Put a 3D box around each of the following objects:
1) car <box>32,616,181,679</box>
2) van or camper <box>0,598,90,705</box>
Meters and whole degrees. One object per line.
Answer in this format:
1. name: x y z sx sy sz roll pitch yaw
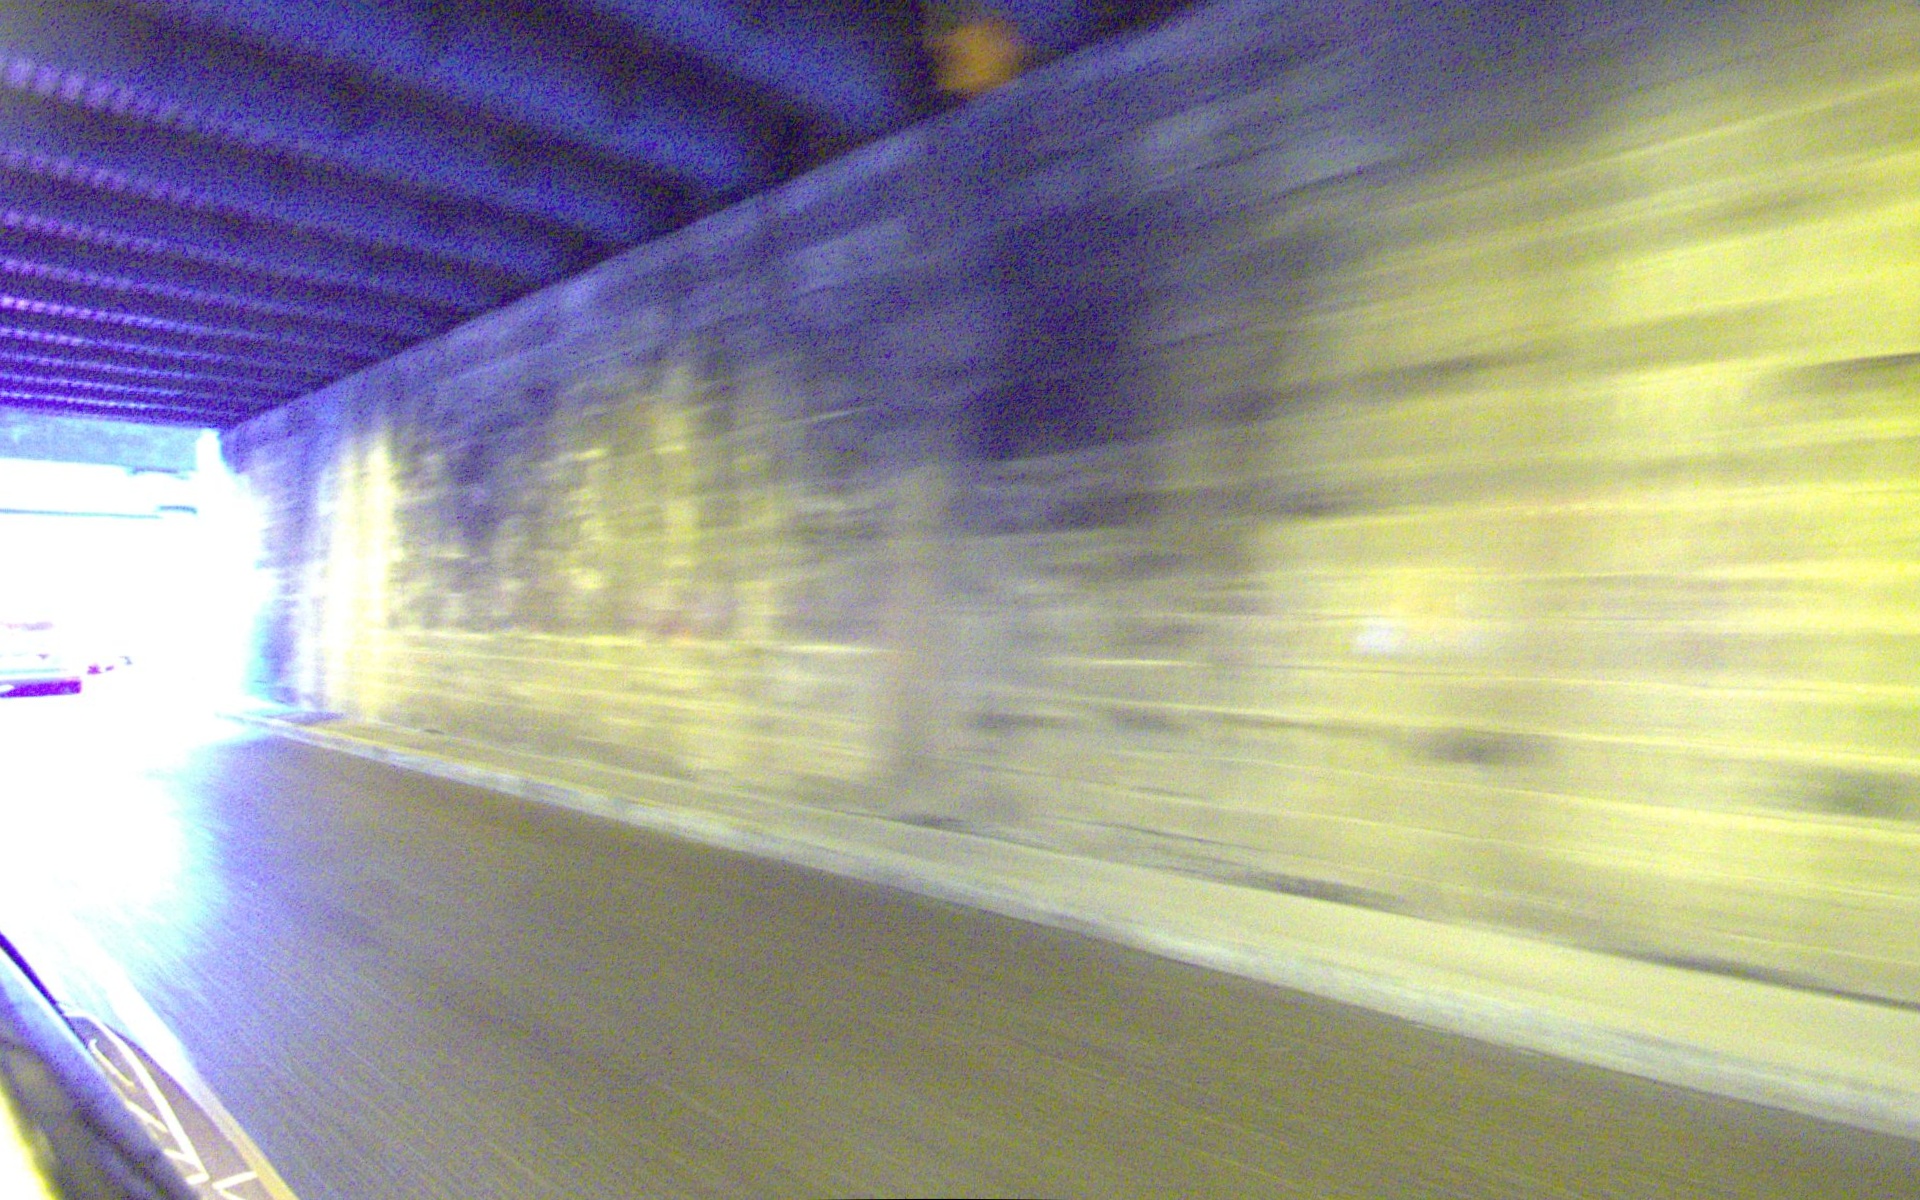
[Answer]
1. car: -26.055 1.384 31.115 1.966 1.541 4.514 -5 2 -20
2. van or camper: -18.551 0.916 19.724 5.141 1.882 1.971 0 -1 44
